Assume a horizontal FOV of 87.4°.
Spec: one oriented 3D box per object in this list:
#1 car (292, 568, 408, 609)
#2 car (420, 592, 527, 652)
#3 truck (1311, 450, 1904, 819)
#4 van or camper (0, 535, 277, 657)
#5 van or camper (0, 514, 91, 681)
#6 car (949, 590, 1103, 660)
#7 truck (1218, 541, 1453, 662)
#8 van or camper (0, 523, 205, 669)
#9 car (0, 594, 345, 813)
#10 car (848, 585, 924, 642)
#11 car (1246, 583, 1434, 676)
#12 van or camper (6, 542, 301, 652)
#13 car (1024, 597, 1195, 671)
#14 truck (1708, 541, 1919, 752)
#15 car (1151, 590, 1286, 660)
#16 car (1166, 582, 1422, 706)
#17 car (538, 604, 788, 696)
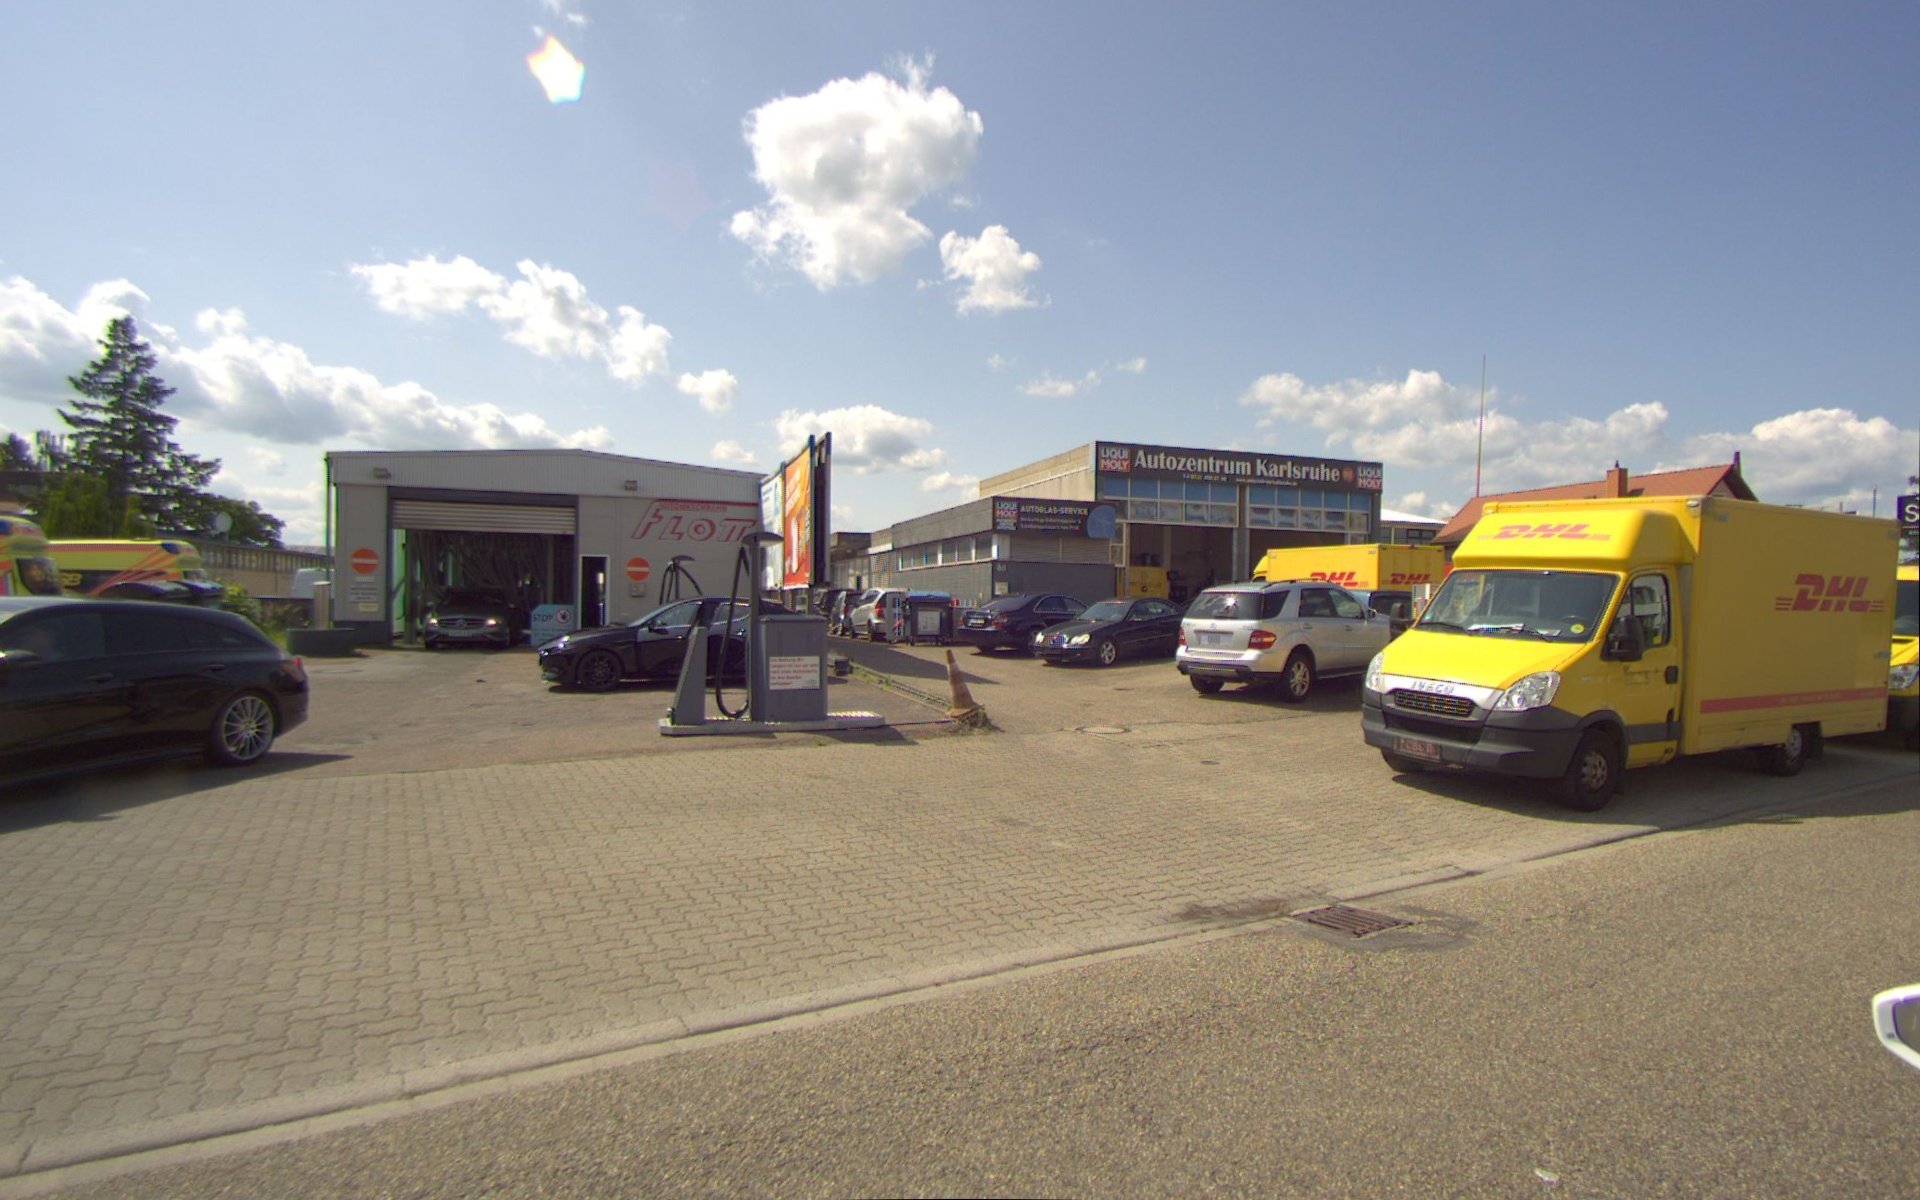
[{"bbox_3d":[-24.963,-0.455,41.261,3.747,1.558,1.744,1,0,-20],"label":"car"},{"bbox_3d":[-11.530,0.495,24.021,1.745,1.315,3.515,1,0,-17],"label":"car"},{"bbox_3d":[7.040,0.292,10.583,6.984,2.895,2.210,1,2,-30],"label":"truck"},{"bbox_3d":[-18.609,-0.087,22.378,5.285,2.508,1.989,0,1,-24],"label":"van or camper"},{"bbox_3d":[-16.900,-0.041,15.181,5.285,2.508,1.989,0,1,-24],"label":"van or camper"},{"bbox_3d":[1.689,0.532,24.607,1.841,1.391,3.983,3,4,38],"label":"car"},{"bbox_3d":[9.950,0.060,27.484,2.488,2.888,6.594,1,0,-18],"label":"truck"},{"bbox_3d":[-17.102,-0.075,18.057,5.285,2.508,1.989,0,1,-24],"label":"van or camper"},{"bbox_3d":[-7.078,0.674,7.293,1.959,1.413,4.596,1,-2,8],"label":"car"},{"bbox_3d":[-2.303,0.397,30.550,1.537,1.613,3.504,1,0,-17],"label":"car"},{"bbox_3d":[8.489,0.595,22.822,1.827,1.834,3.922,1,2,-20],"label":"car"},{"bbox_3d":[-19.626,-0.080,24.807,5.285,2.508,1.989,0,1,-24],"label":"van or camper"},{"bbox_3d":[3.383,0.685,22.265,3.979,1.305,1.653,-4,3,-44],"label":"car"},{"bbox_3d":[13.050,0.577,14.014,5.992,2.446,1.984,1,0,-30],"label":"truck"},{"bbox_3d":[6.901,0.646,27.194,1.706,1.754,3.838,1,0,-19],"label":"car"},{"bbox_3d":[5.573,0.590,16.456,4.668,1.728,1.813,-1,1,-40],"label":"car"},{"bbox_3d":[-4.813,0.747,16.420,3.692,1.307,1.890,-1,1,-20],"label":"car"}]
